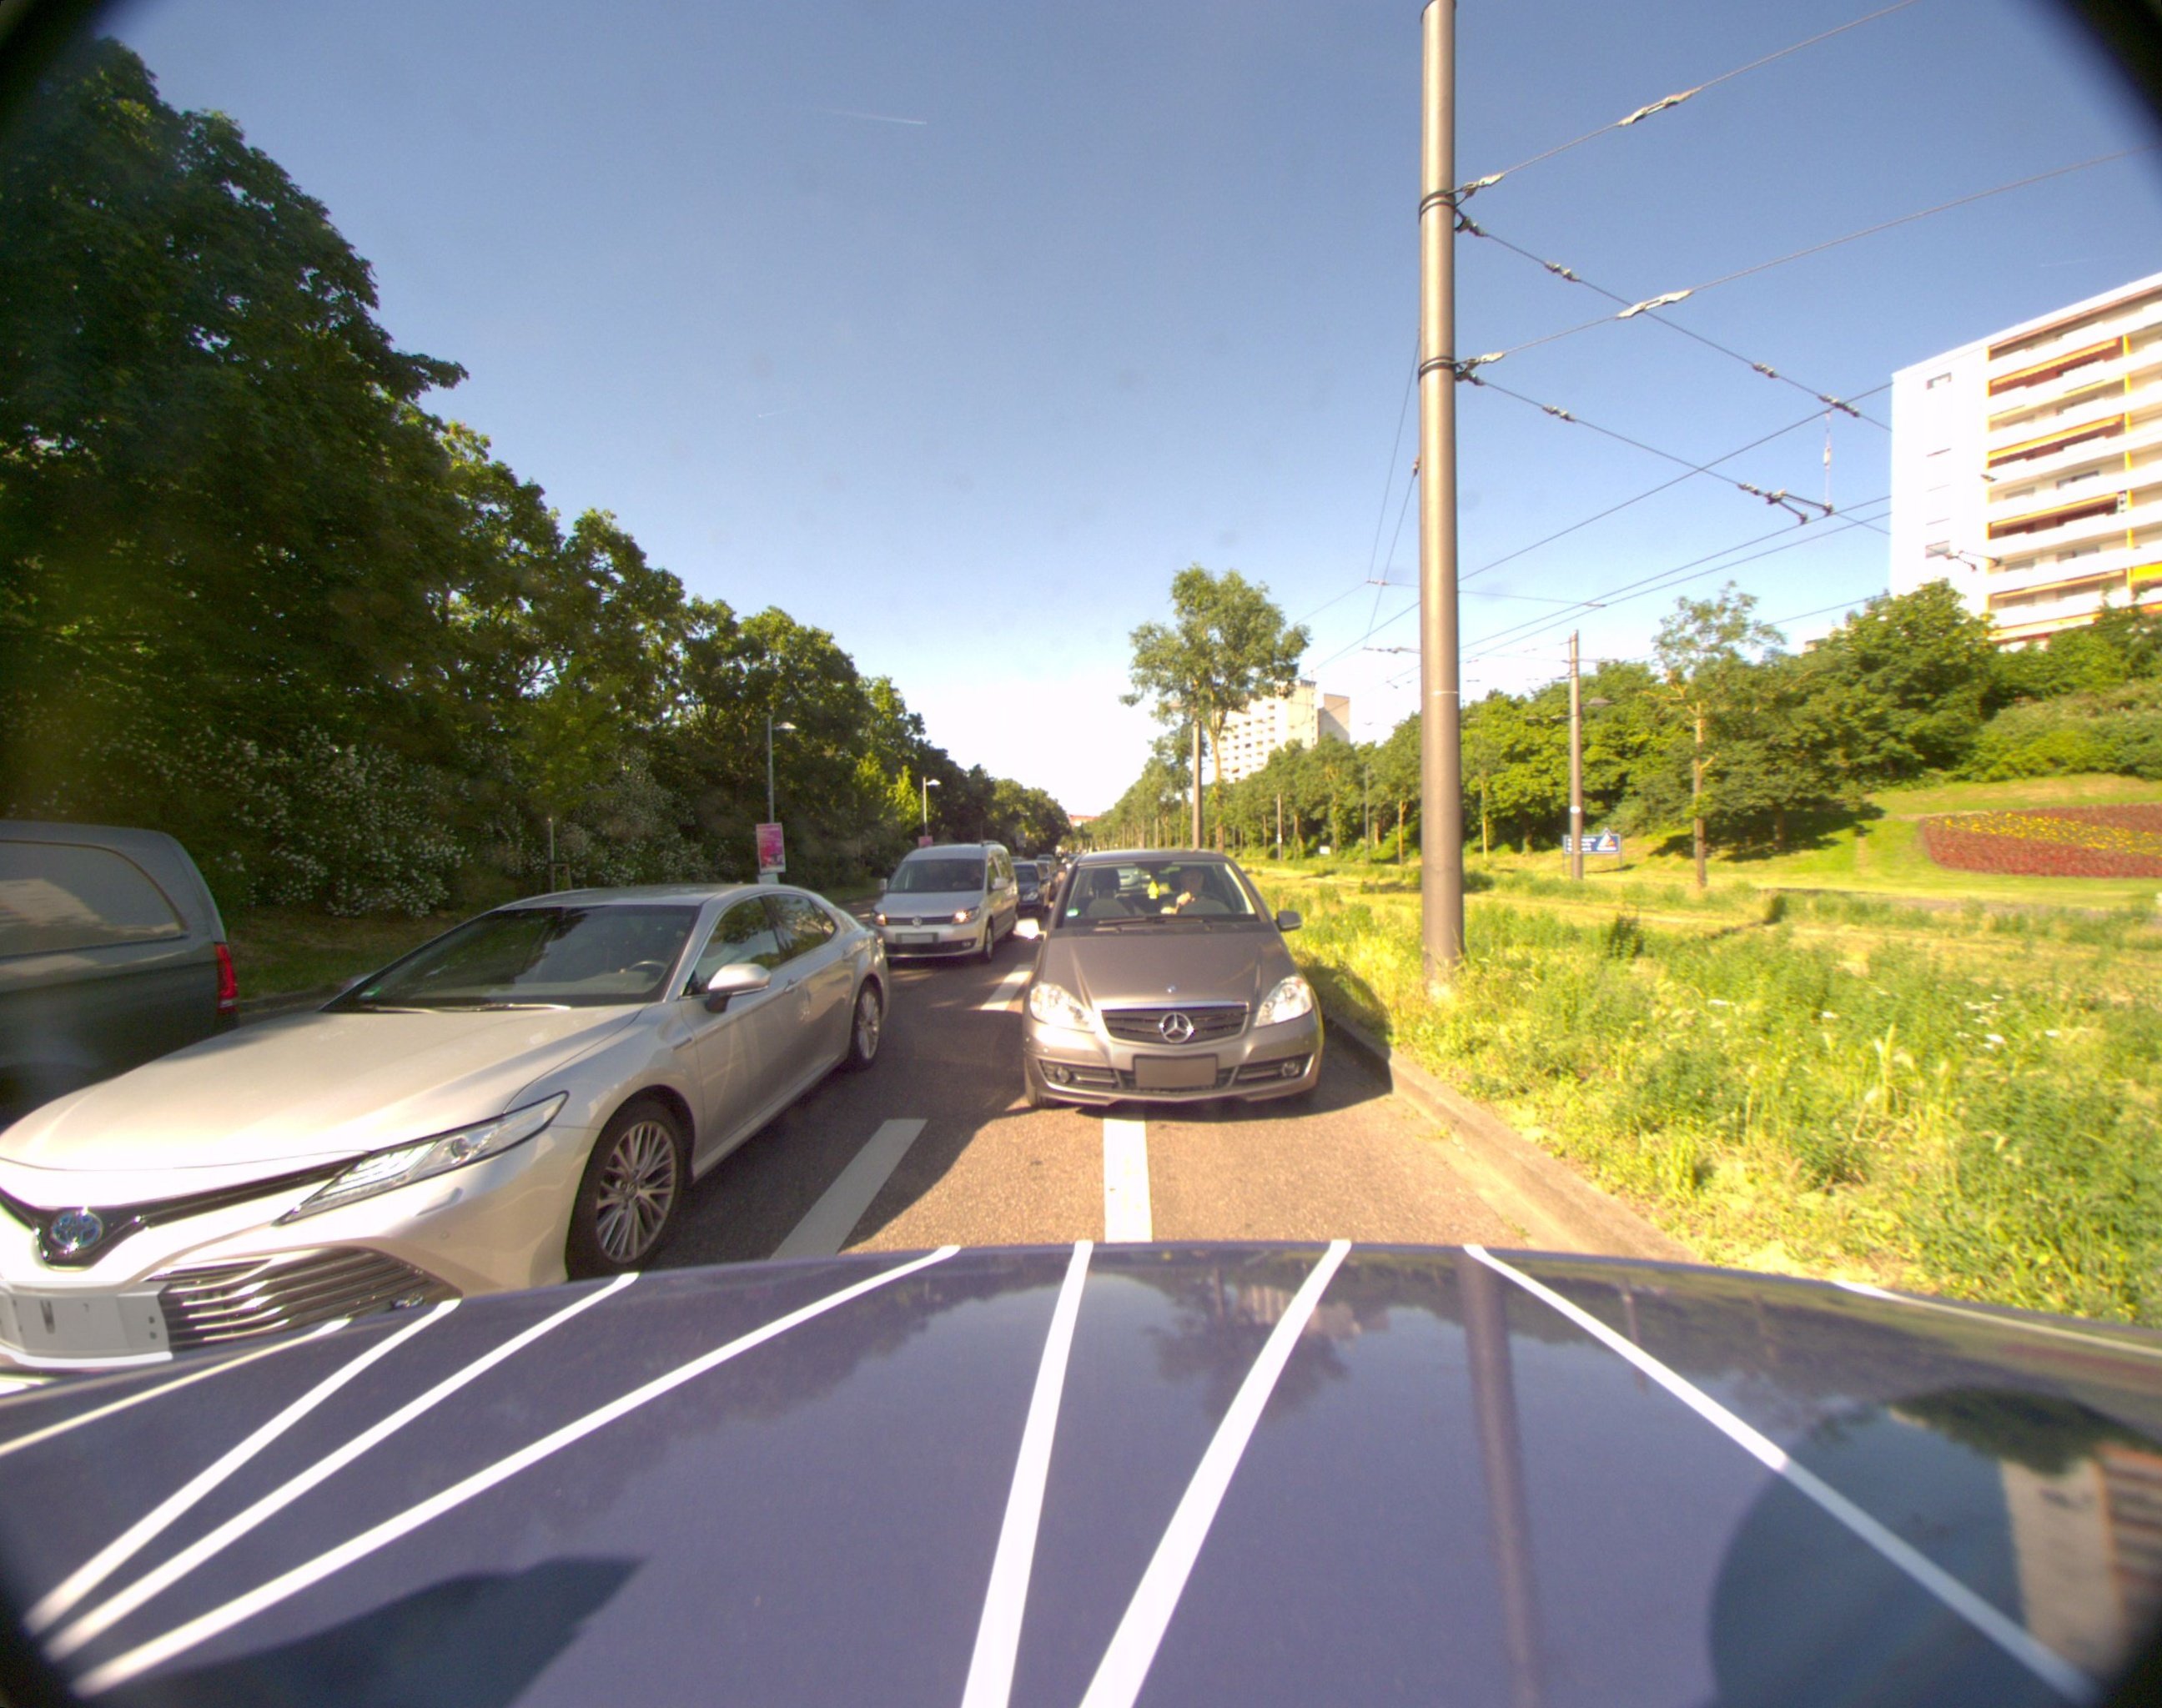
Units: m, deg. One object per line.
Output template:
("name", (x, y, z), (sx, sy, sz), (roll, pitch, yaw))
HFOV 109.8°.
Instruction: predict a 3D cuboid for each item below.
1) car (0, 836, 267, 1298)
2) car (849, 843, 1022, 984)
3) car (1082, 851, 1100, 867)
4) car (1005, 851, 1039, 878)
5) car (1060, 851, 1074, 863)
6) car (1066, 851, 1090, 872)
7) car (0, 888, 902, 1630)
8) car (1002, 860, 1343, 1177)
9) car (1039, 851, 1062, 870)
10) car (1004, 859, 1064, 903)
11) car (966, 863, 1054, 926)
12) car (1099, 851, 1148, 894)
("car", (-5.462, 0.892, 1.523), (1.998, 1.882, 5.148), (-1, 0, 1))
("car", (-2.156, 0.792, 12.616), (1.822, 1.893, 4.622), (-1, 0, 2))
("car", (1.039, 0.533, 80.410), (1.777, 1.597, 4.384), (-1, 0, 1))
("car", (-3.701, 0.653, 48.401), (1.777, 1.597, 4.384), (-1, 0, 1))
("car", (-1.883, 0.453, 104.223), (1.777, 1.597, 4.300), (-1, 0, 1))
("car", (-0.174, 0.548, 58.652), (1.777, 1.597, 4.384), (-1, 0, 1))
("car", (-2.647, 1.043, 4.118), (2.069, 1.451, 4.749), (-1, 0, 2))
("car", (0.513, 0.893, 6.203), (1.777, 1.597, 4.384), (-1, 0, 1))
("car", (-2.707, 0.537, 67.914), (1.777, 1.597, 4.384), (-1, 0, 1))
("car", (-1.613, 0.910, 27.525), (1.776, 1.395, 4.067), (-1, 0, 2))
("car", (-1.726, 0.965, 19.711), (1.776, 1.395, 4.067), (-1, 0, 2))
("car", (1.649, 0.702, 30.821), (1.777, 1.597, 4.384), (-1, 0, 1))
